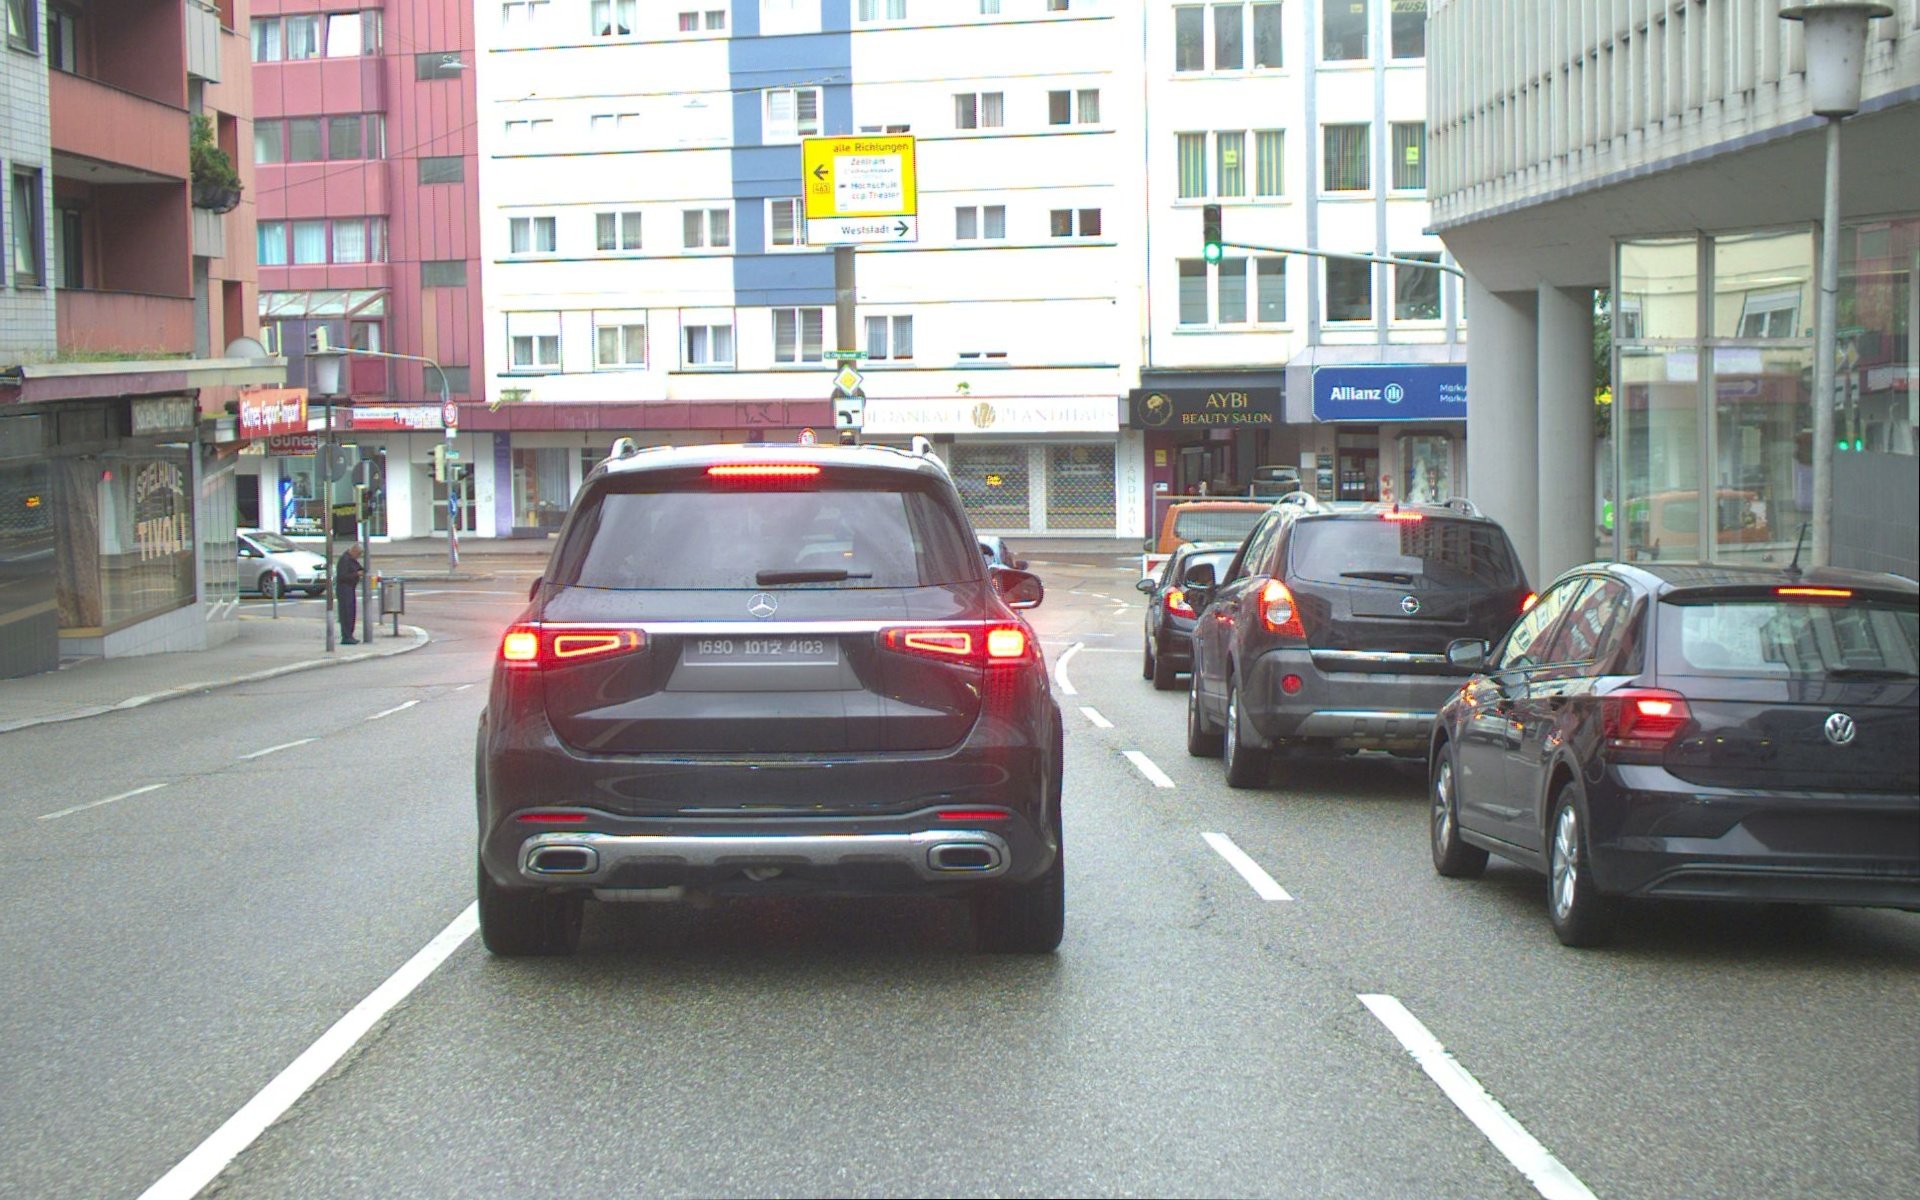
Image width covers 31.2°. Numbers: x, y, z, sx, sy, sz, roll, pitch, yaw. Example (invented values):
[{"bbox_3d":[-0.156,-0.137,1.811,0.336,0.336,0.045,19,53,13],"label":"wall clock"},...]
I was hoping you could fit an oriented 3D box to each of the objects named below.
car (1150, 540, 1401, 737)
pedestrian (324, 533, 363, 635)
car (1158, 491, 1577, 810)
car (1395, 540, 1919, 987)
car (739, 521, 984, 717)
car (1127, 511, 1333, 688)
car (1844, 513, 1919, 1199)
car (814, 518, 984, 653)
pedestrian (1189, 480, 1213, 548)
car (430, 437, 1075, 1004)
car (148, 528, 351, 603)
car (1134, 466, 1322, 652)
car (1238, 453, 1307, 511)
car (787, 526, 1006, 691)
[{"bbox_3d":[2.616,0.271,29.338,1.767,1.392,4.000,5,1,1],"label":"car"},{"bbox_3d":[-10.287,-0.268,57.351,0.554,1.691,0.624,-1,1,-4],"label":"pedestrian"},{"bbox_3d":[2.386,0.231,21.285,1.897,1.689,4.506,2,1,-1],"label":"car"},{"bbox_3d":[2.941,0.542,13.857,1.688,1.472,4.001,2,1,-2],"label":"car"},{"bbox_3d":[-0.825,0.097,28.645,1.873,1.489,4.401,0,1,-2],"label":"car"},{"bbox_3d":[2.677,-0.019,34.957,1.823,1.653,4.495,1,0,1],"label":"car"},{"bbox_3d":[2.743,0.667,4.845,1.823,1.554,4.202,2,1,-1],"label":"car"},{"bbox_3d":[-0.722,-0.158,42.085,1.924,1.510,4.663,2,0,0],"label":"car"},{"bbox_3d":[6.272,-2.241,89.589,0.564,1.683,0.756,-1,7,6],"label":"pedestrian"},{"bbox_3d":[-0.734,0.335,13.293,2.038,1.792,4.663,0,1,-2],"label":"car"},{"bbox_3d":[-16.077,-0.803,77.844,4.165,1.587,1.740,1,2,15],"label":"car"},{"bbox_3d":[3.414,-0.538,44.272,2.243,2.220,5.428,1,1,4],"label":"car"},{"bbox_3d":[9.327,-3.502,102.422,1.797,1.664,3.999,-1,1,9],"label":"car"},{"bbox_3d":[-0.597,0.030,33.919,1.993,1.481,4.237,-1,1,0],"label":"car"}]
